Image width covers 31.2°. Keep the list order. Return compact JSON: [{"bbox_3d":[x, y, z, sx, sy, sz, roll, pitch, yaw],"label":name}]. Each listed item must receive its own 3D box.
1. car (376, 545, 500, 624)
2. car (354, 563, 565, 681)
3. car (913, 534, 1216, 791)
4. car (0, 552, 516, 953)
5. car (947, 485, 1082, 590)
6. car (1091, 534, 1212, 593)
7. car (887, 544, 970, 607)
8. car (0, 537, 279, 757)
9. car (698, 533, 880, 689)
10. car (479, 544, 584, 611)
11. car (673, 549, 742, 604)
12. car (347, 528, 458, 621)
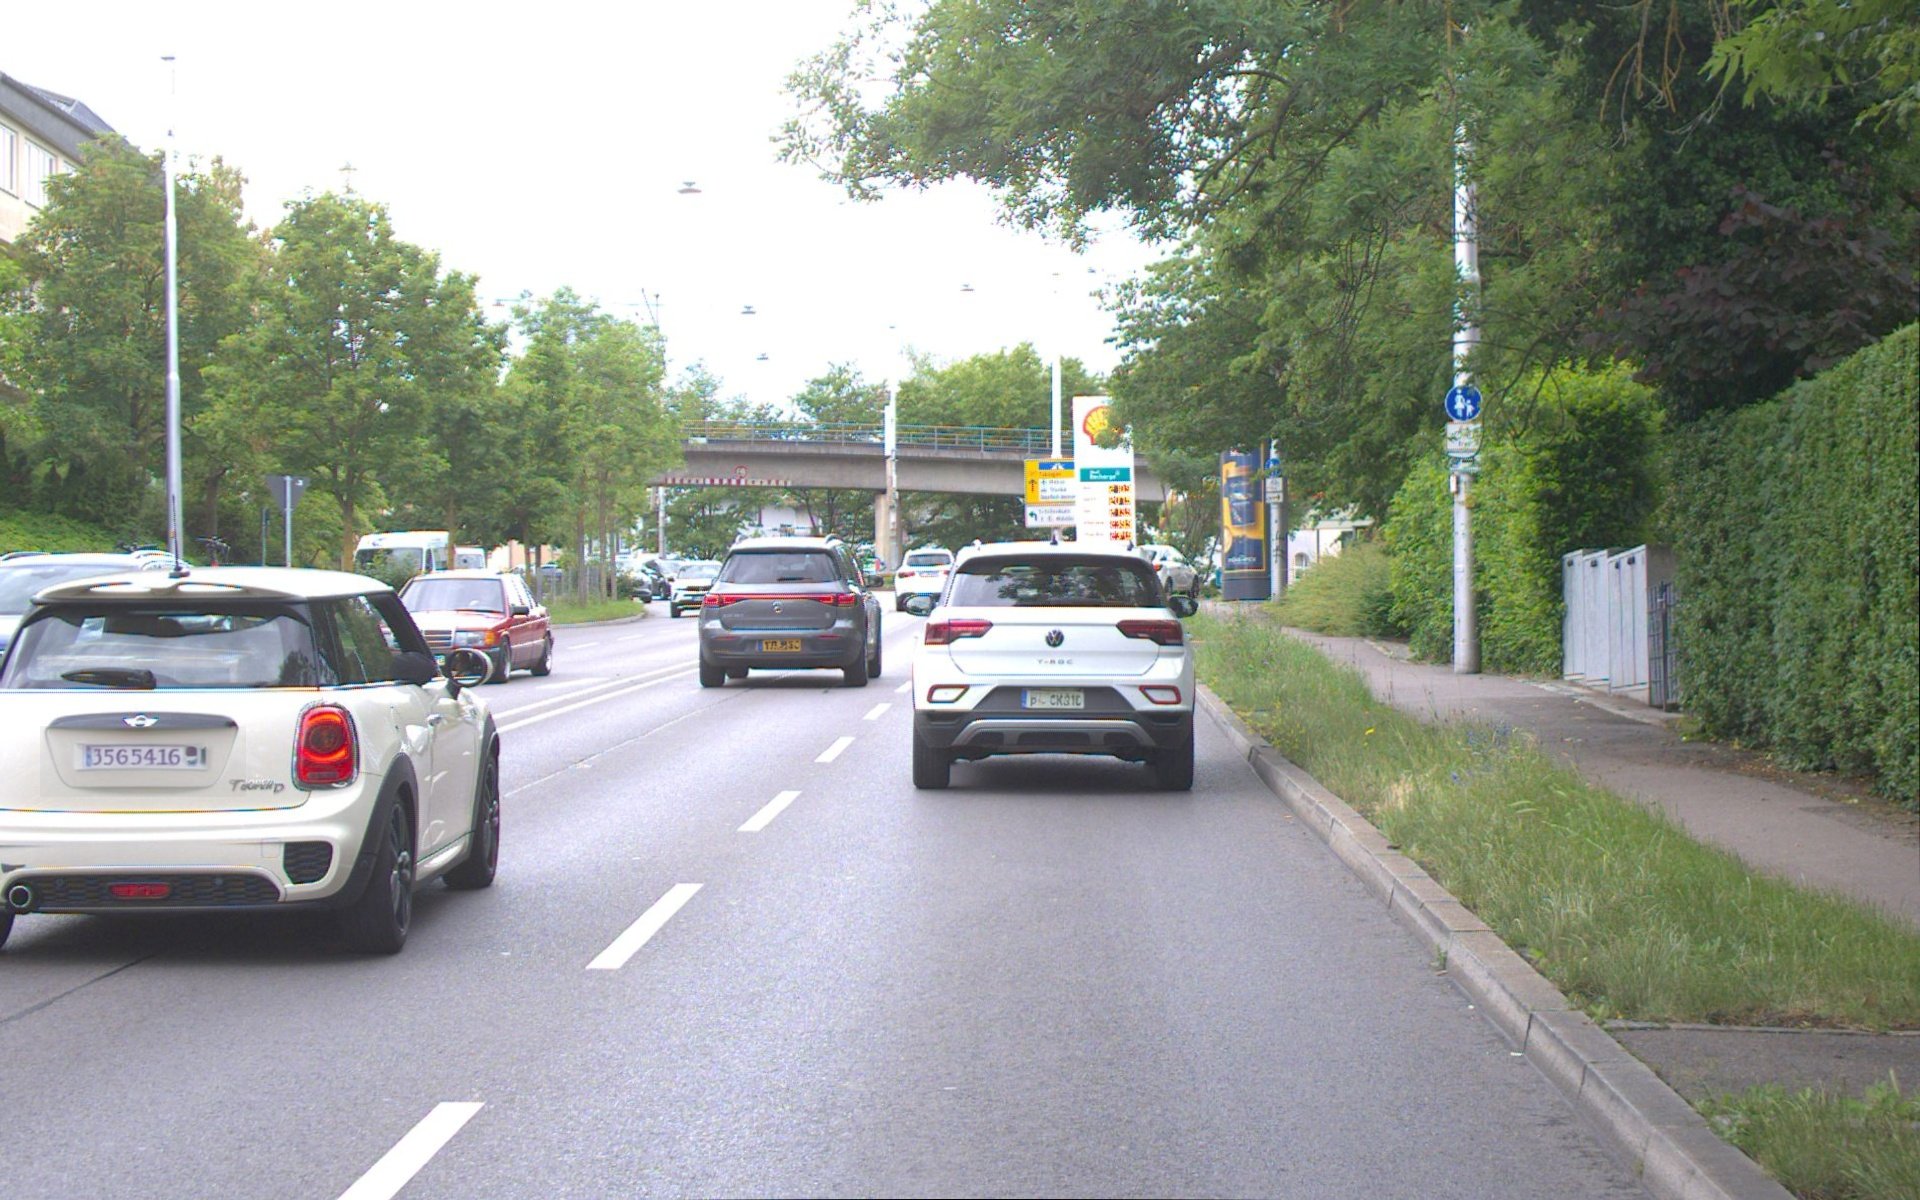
[{"bbox_3d":[-11.168,-0.354,73.803,2.068,1.651,4.693,0,1,-2],"label":"car"},{"bbox_3d":[-6.012,0.227,41.770,1.741,1.348,4.846,0,1,1],"label":"car"},{"bbox_3d":[0.611,0.351,22.561,1.811,1.534,3.690,-1,1,-1],"label":"car"},{"bbox_3d":[-2.873,0.510,13.768,1.628,1.388,3.566,-1,1,2],"label":"car"},{"bbox_3d":[0.836,-0.965,55.077,1.873,1.496,4.555,3,0,-2],"label":"car"},{"bbox_3d":[5.106,-0.977,91.064,1.860,1.495,4.050,0,1,24],"label":"car"},{"bbox_3d":[-0.884,-0.677,93.511,1.858,1.646,4.637,-1,1,-5],"label":"car"},{"bbox_3d":[-7.029,0.310,27.486,1.771,1.591,5.183,0,1,4],"label":"car"},{"bbox_3d":[-1.878,0.088,38.977,1.813,1.646,4.636,-1,1,0],"label":"car"},{"bbox_3d":[-10.370,-0.562,83.461,2.068,1.574,4.693,0,1,-2],"label":"car"},{"bbox_3d":[-7.295,-0.693,98.989,1.895,1.536,4.694,0,1,-6],"label":"car"},{"bbox_3d":[-14.069,-0.658,86.983,2.068,2.298,5.465,0,1,-2],"label":"car"}]
